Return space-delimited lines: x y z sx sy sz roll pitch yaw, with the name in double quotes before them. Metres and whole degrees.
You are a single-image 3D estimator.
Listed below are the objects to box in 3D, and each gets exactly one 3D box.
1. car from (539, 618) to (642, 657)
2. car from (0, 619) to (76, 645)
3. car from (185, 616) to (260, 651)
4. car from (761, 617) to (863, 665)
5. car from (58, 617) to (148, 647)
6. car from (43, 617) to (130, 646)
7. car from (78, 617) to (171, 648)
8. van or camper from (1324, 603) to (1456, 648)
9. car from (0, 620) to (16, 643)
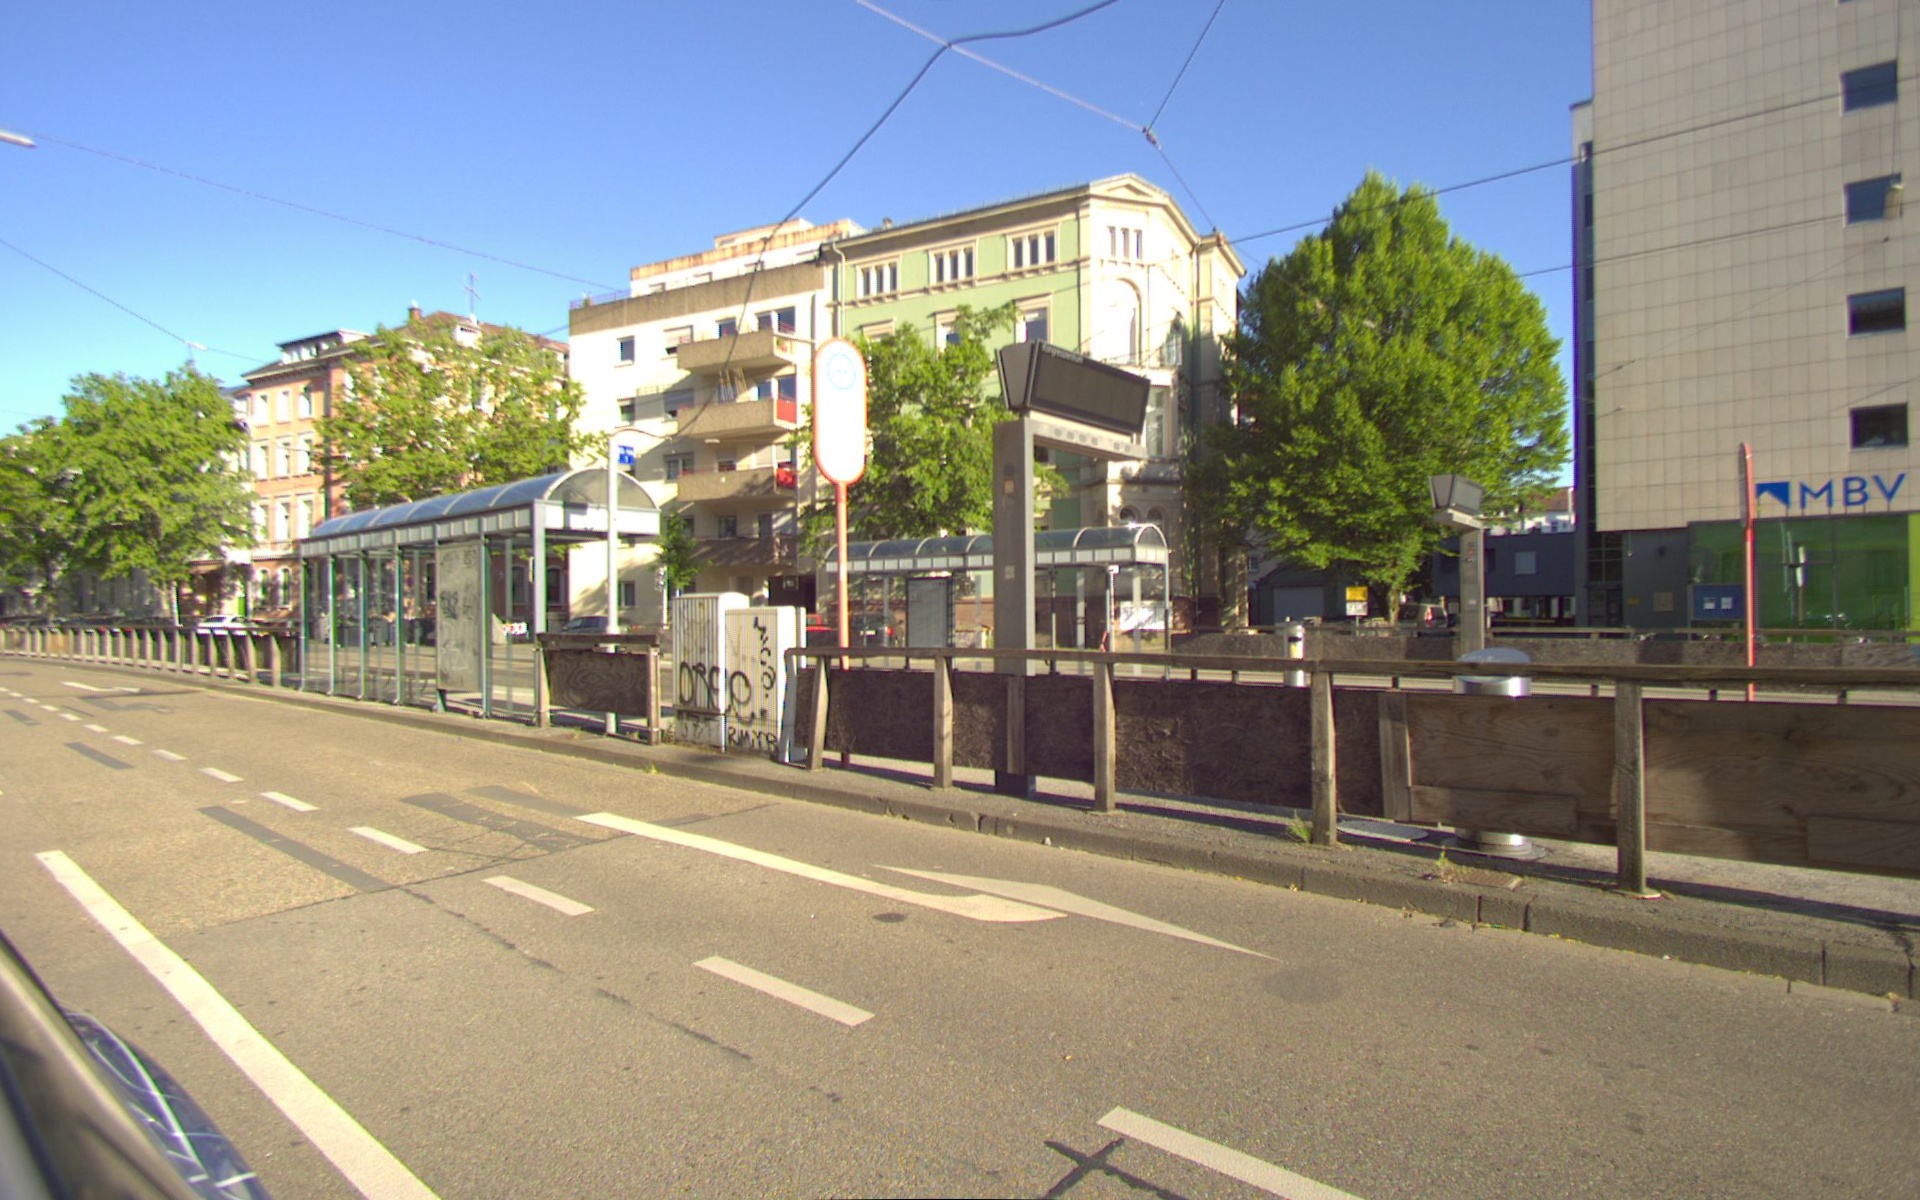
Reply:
"car" -14.009 1.415 38.400 3.498 1.406 1.602 -1 -2 22
"car" -59.617 2.063 65.274 3.811 1.604 2.001 1 -2 -45
"car" -39.528 1.755 54.379 1.966 1.736 4.012 0 1 -15
"car" -5.007 1.366 34.695 1.763 1.547 3.763 -1 -2 23
"car" -51.300 1.891 60.634 2.001 1.697 3.942 -2 -2 44
"car" -54.308 1.937 62.962 2.001 1.697 3.942 -2 -2 44
"car" -47.983 1.828 58.161 2.001 1.697 3.942 -2 -2 44
"van or camper" 15.499 0.886 36.552 3.998 1.417 1.943 2 0 41
"car" -68.107 2.195 70.118 2.001 1.604 3.812 -2 -2 44
